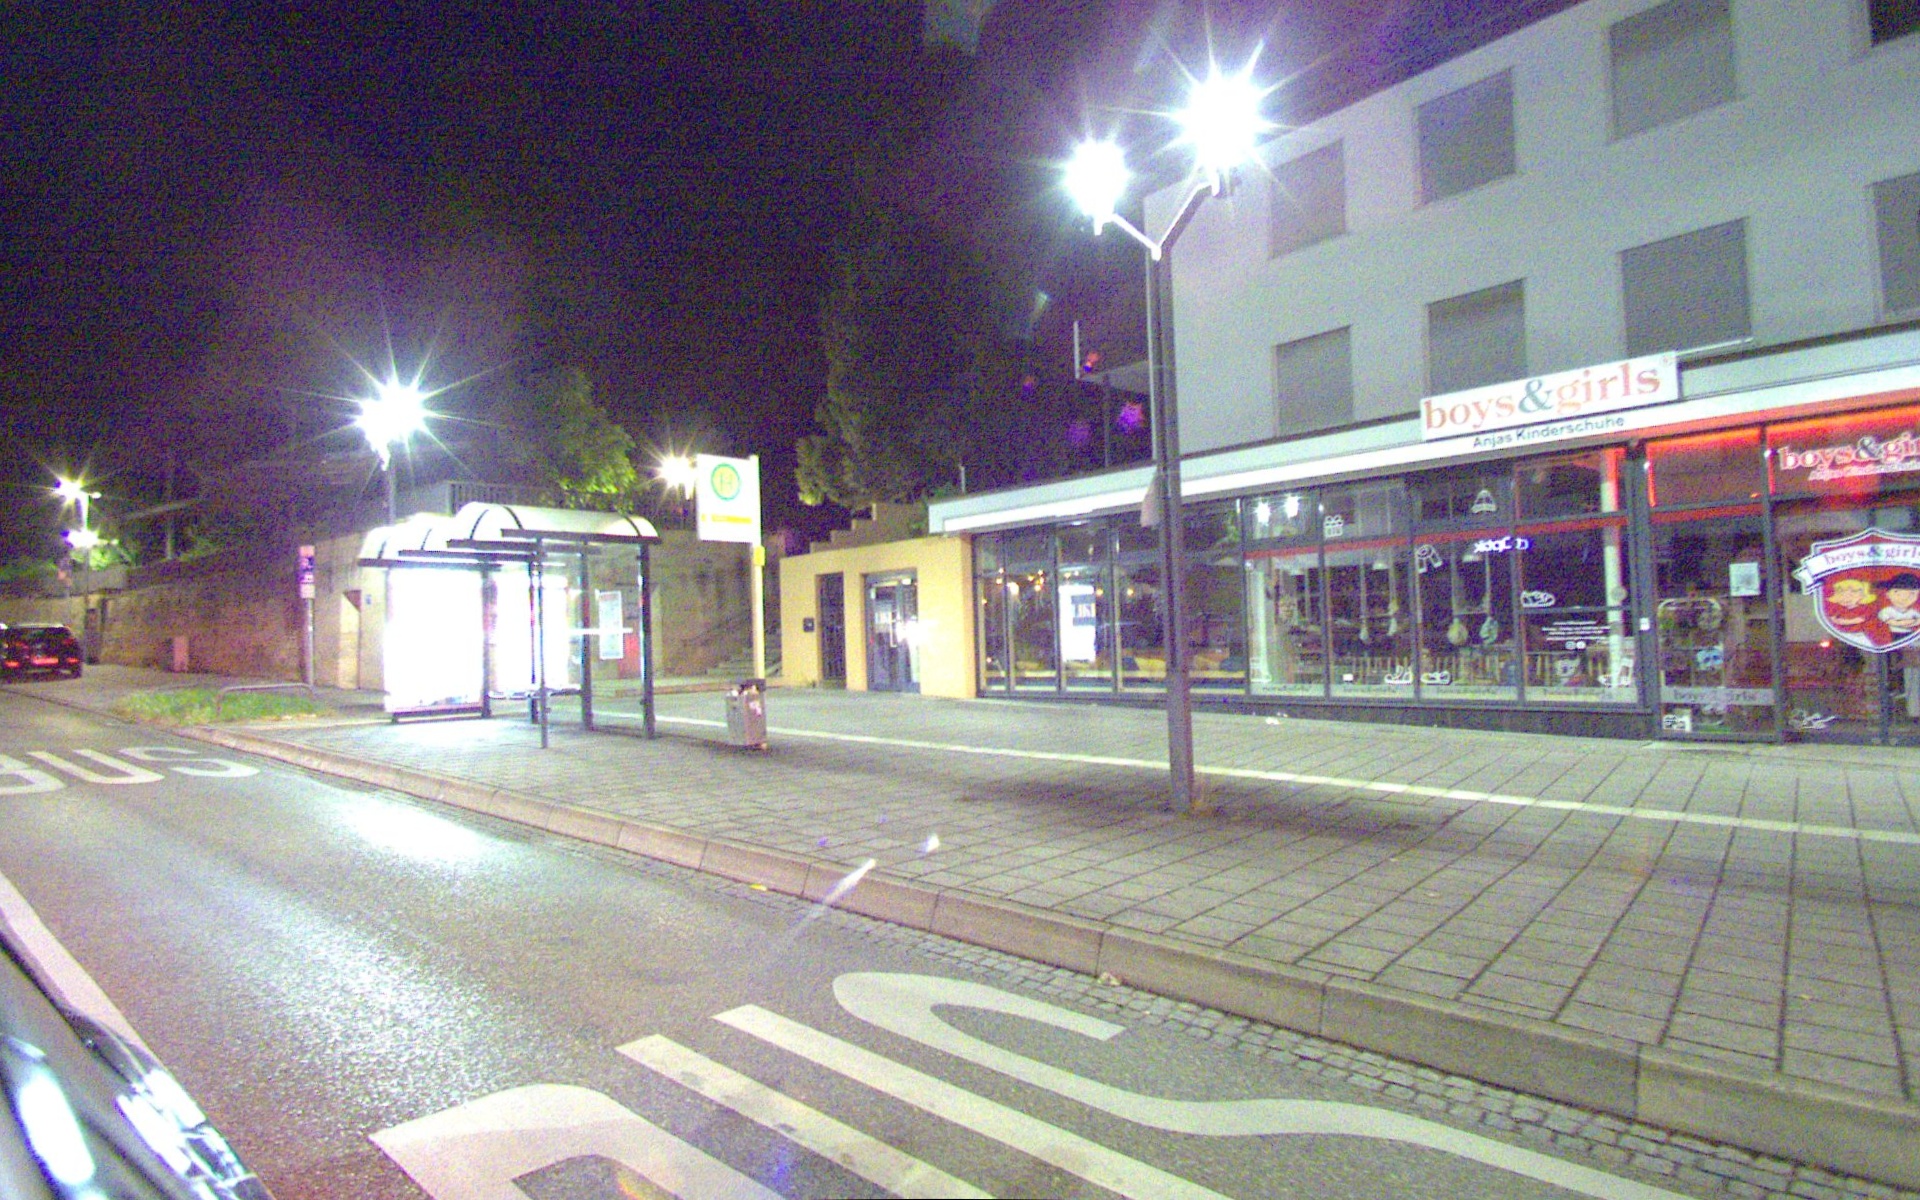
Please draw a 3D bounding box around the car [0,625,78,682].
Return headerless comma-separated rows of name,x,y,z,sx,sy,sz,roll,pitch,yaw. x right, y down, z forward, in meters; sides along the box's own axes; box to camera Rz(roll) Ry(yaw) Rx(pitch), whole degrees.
car,-26.526,1.458,28.627,4.123,1.447,1.675,-1,0,39
